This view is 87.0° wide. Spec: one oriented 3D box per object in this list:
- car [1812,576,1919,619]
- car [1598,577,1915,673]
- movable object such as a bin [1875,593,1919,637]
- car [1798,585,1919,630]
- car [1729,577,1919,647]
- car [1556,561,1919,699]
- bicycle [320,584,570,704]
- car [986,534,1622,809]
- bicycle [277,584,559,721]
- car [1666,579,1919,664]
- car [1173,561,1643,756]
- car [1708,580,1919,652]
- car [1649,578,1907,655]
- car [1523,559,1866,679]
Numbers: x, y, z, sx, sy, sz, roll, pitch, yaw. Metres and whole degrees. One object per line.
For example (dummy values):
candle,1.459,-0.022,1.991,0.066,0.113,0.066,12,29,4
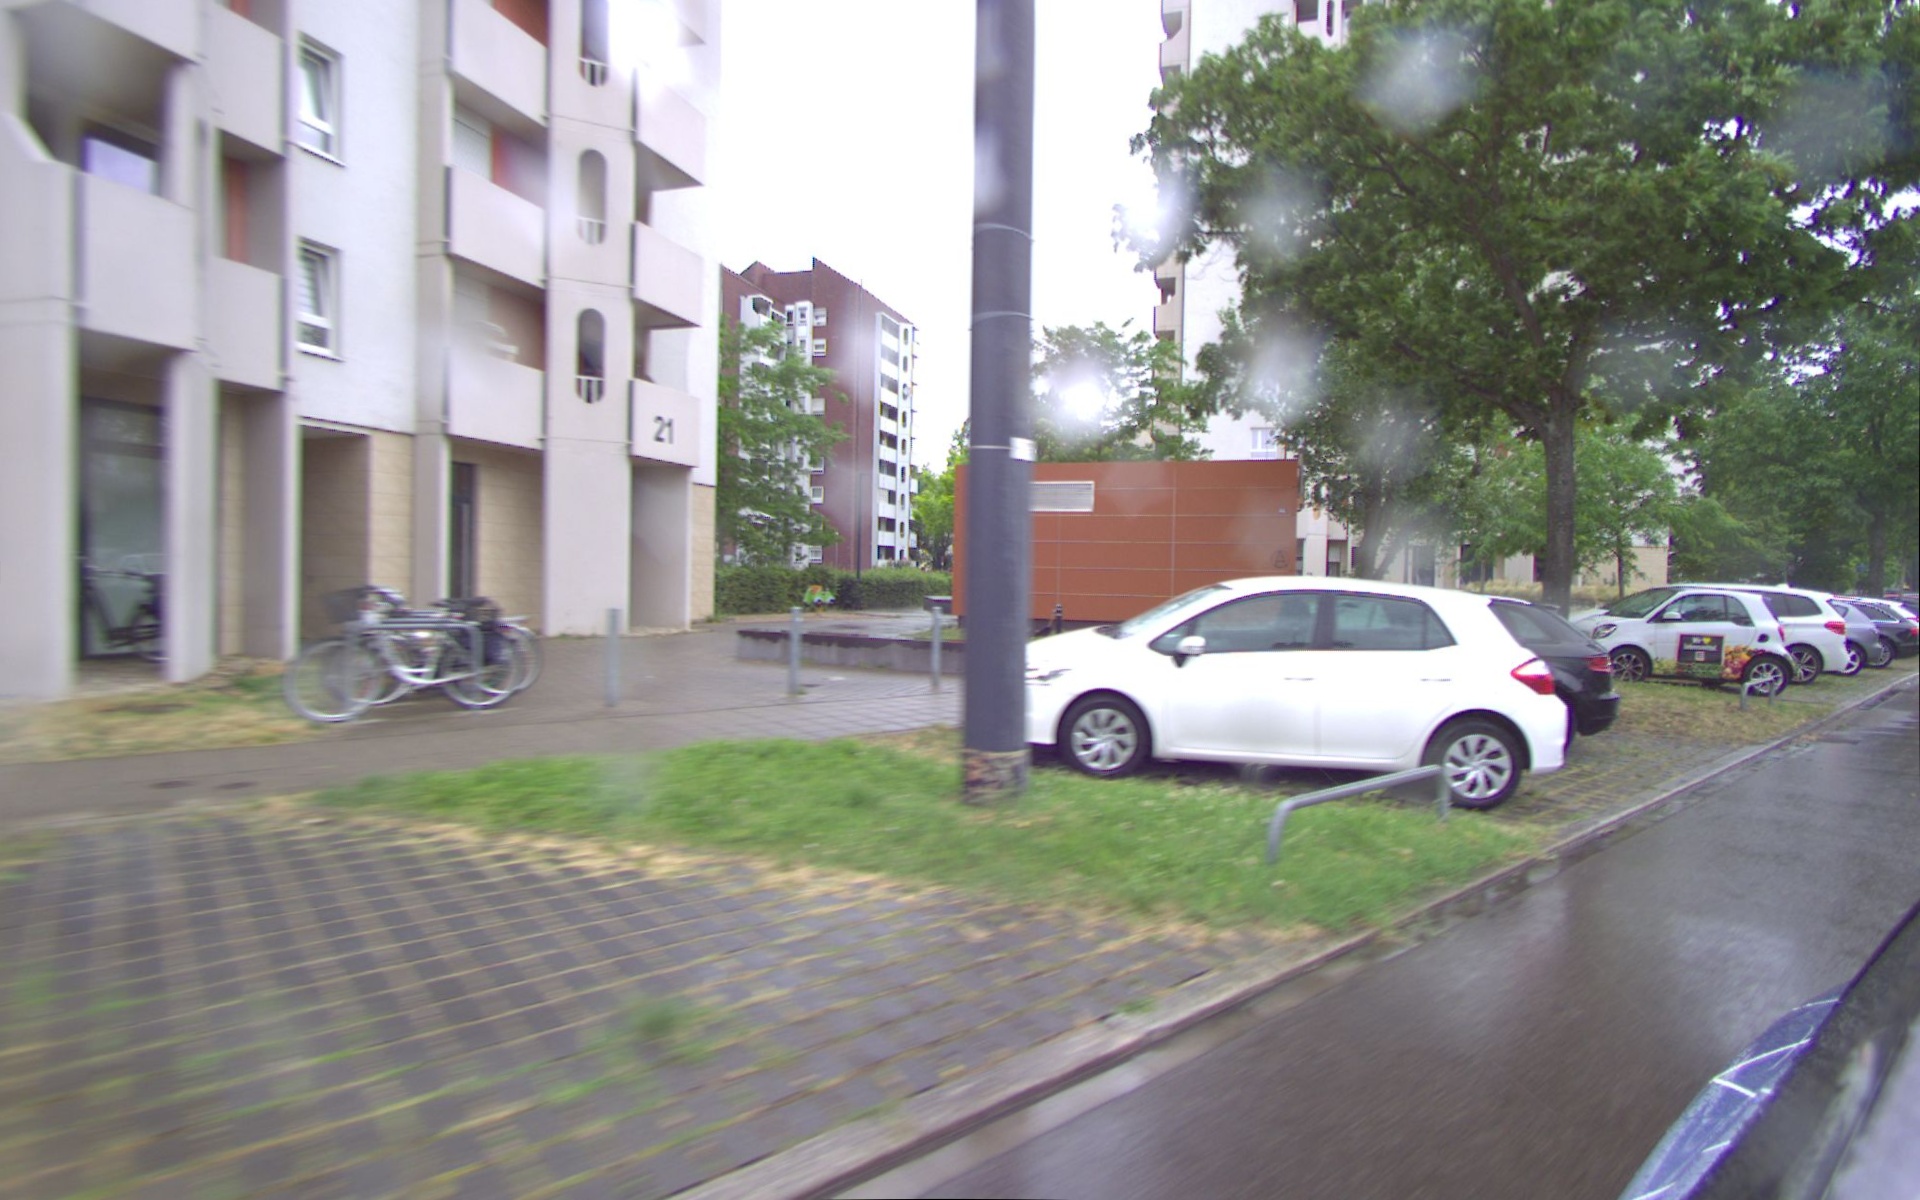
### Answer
car,38.274,-0.131,42.072,3.986,1.706,1.718,1,1,14
car,15.265,0.425,19.685,4.398,1.427,1.760,4,2,15
movable object such as a bin,29.673,0.471,31.729,0.981,1.329,1.183,0,1,11
car,36.031,0.291,40.011,3.987,1.506,1.718,4,2,14
car,24.315,0.303,27.985,4.402,1.560,1.676,4,4,18
car,11.764,0.380,15.482,4.123,1.692,1.679,4,2,13
bicycle,-4.845,0.363,9.618,2.022,1.018,0.662,-1,1,-41
car,2.392,0.419,7.860,4.118,1.566,1.761,4,2,10
bicycle,-4.561,0.386,8.619,2.022,1.018,0.662,-1,1,-41
car,18.030,0.429,21.637,4.399,1.445,1.677,4,2,16
car,4.133,0.462,10.011,3.885,1.449,1.679,4,2,13
car,22.158,0.384,25.857,4.398,1.483,1.812,4,2,15
car,19.524,0.341,24.368,4.391,1.445,1.804,4,2,11
car,12.655,0.267,17.736,4.390,1.692,1.808,4,2,10
